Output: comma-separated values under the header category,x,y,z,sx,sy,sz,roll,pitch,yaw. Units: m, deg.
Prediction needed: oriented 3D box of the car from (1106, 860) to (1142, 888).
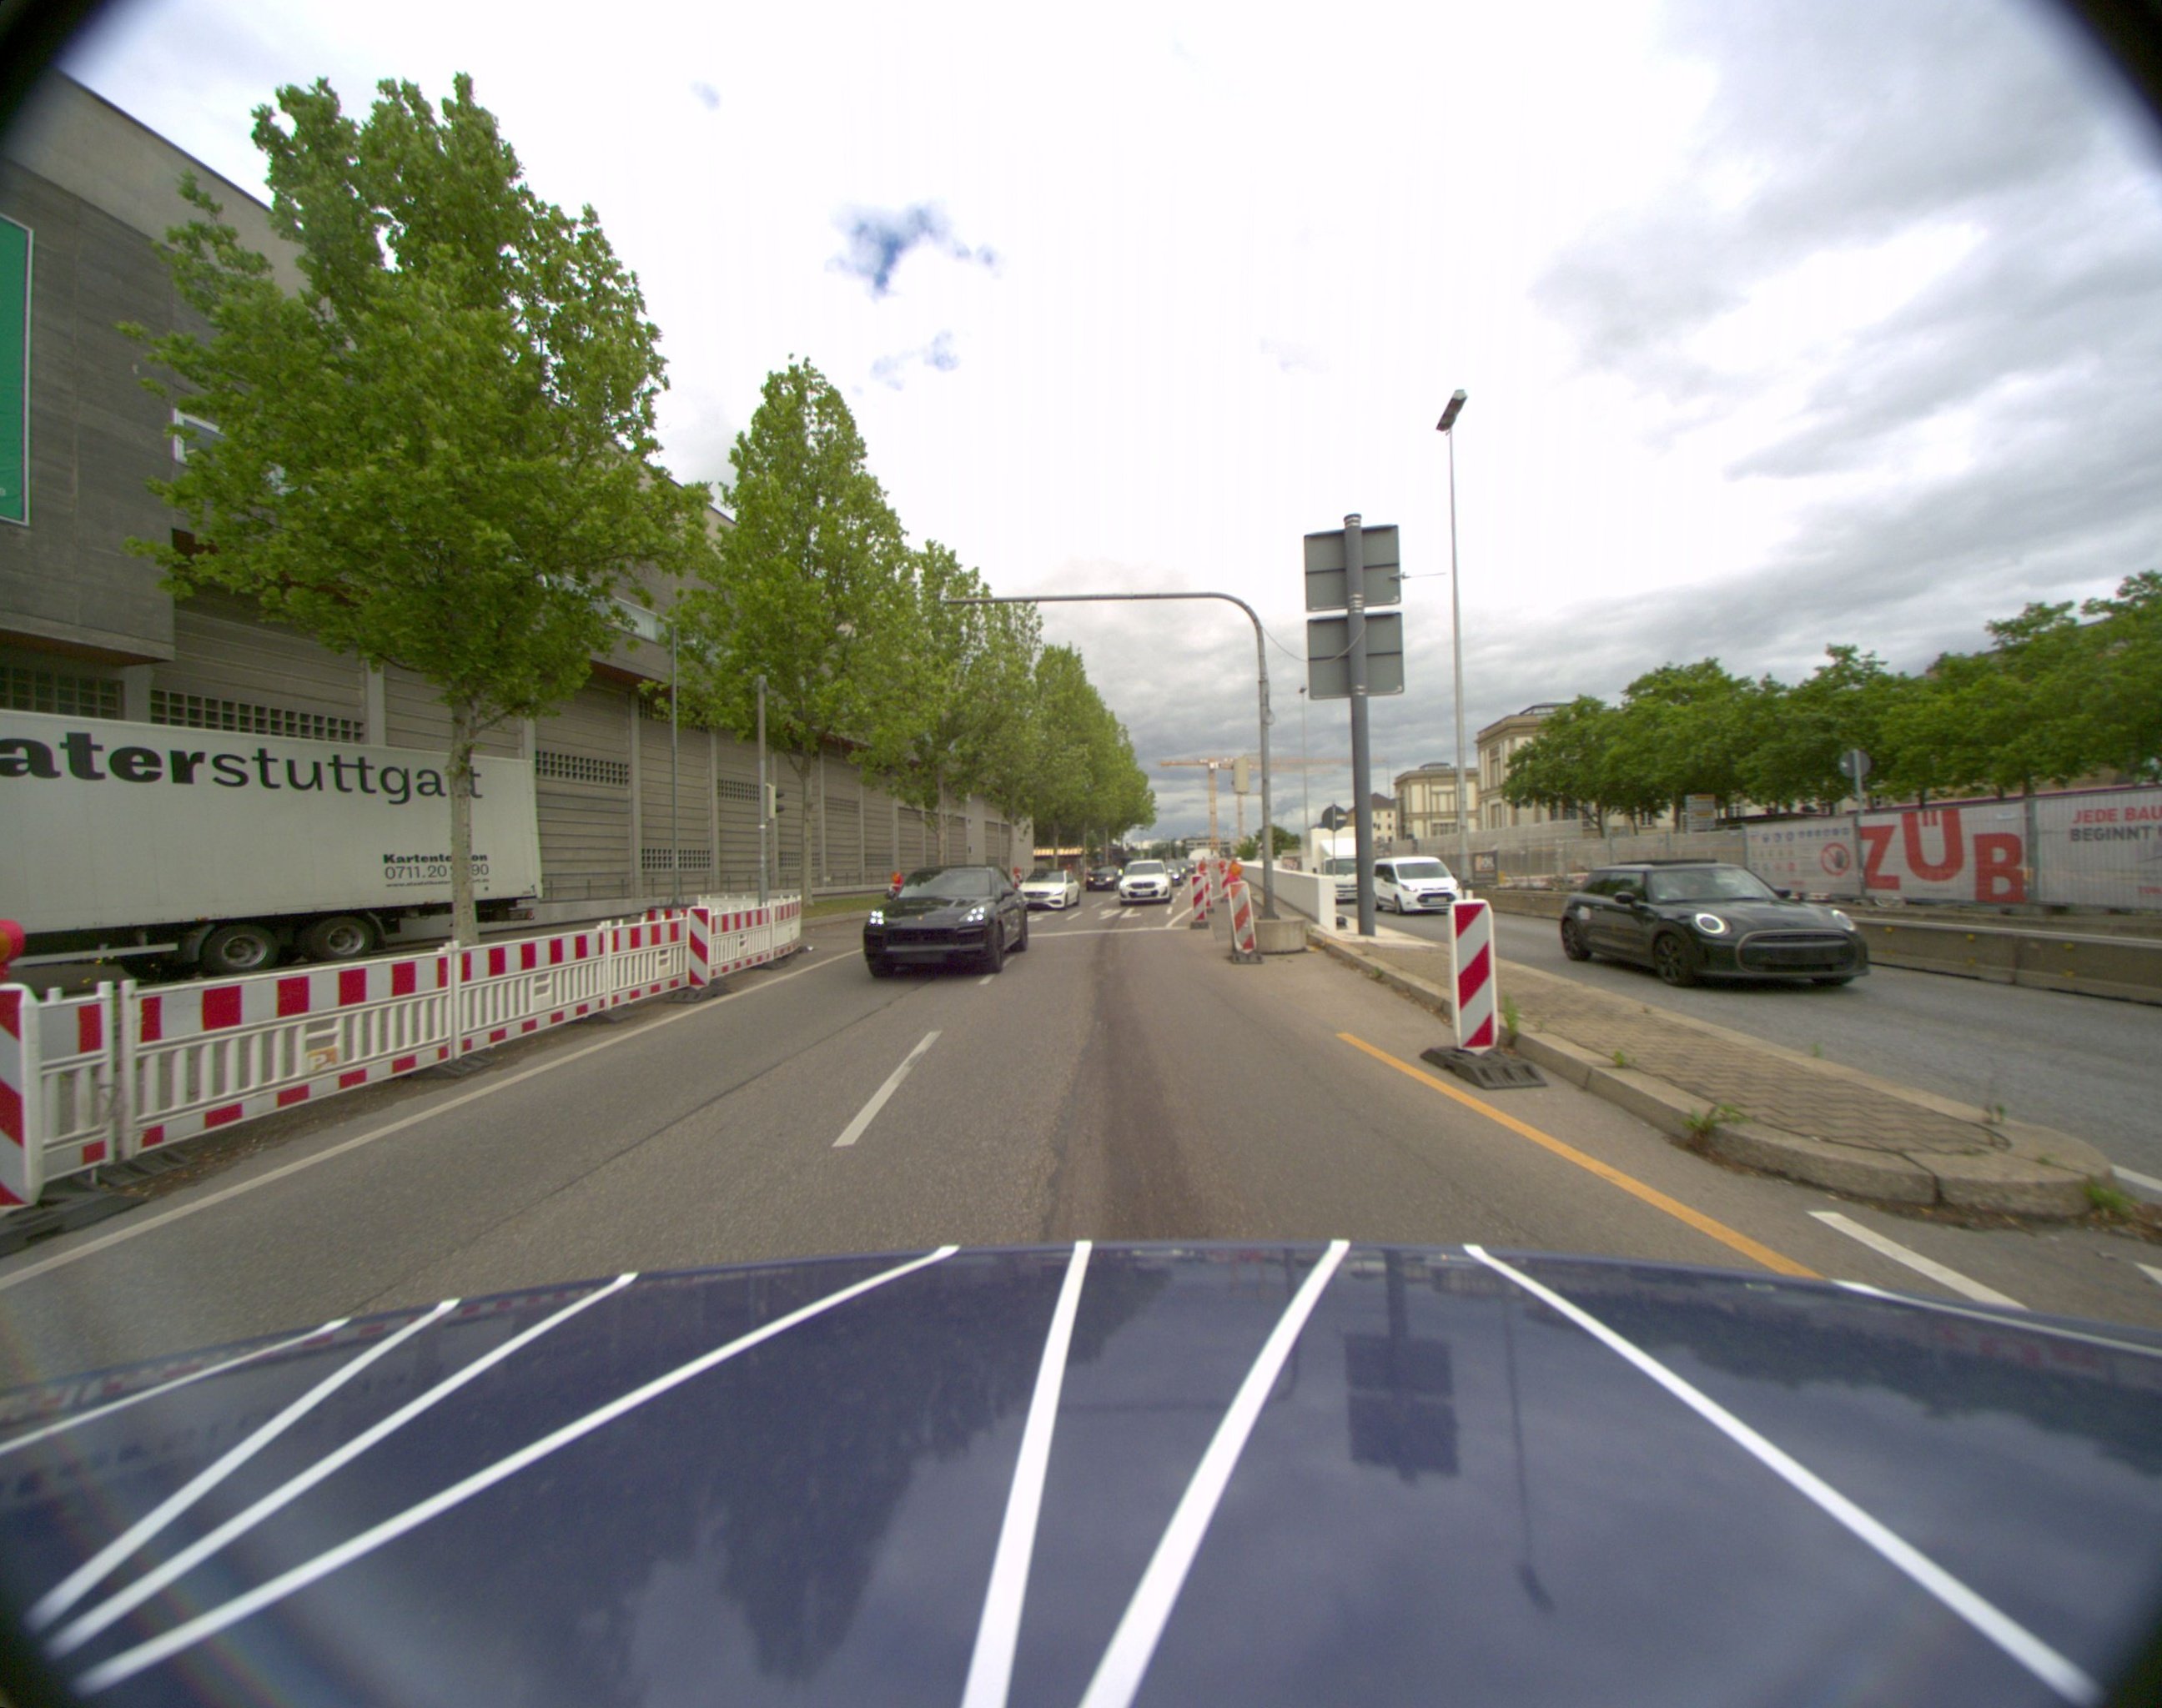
category,x,y,z,sx,sy,sz,roll,pitch,yaw
car,3.278,1.449,57.156,1.951,1.914,4.403,-2,0,12

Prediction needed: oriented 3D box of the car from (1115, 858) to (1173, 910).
category,x,y,z,sx,sy,sz,roll,pitch,yaw
car,2.452,1.050,28.511,1.855,1.618,4.909,-3,0,7

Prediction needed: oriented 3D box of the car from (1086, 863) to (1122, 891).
category,x,y,z,sx,sy,sz,roll,pitch,yaw
car,1.354,1.284,43.434,1.611,1.464,3.625,-2,0,9

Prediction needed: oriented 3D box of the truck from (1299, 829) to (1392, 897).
category,x,y,z,sx,sy,sz,roll,pitch,yaw
truck,12.065,0.402,35.322,2.975,2.757,7.261,-2,0,11

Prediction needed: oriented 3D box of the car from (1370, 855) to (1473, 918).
category,x,y,z,sx,sy,sz,roll,pitch,yaw
car,10.562,0.941,23.907,1.841,1.751,4.483,-2,0,10

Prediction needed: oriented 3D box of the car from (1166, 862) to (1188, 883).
category,x,y,z,sx,sy,sz,roll,pitch,yaw
car,7.697,1.463,60.618,1.611,1.464,3.625,-2,0,9

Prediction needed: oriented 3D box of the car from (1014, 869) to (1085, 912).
category,x,y,z,sx,sy,sz,roll,pitch,yaw
car,-1.064,1.292,27.893,1.933,1.368,4.002,-1,0,7

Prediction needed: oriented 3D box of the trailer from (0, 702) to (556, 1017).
category,x,y,z,sx,sy,sz,roll,pitch,yaw
trailer,-15.397,0.166,10.536,3.152,4.077,13.989,-4,0,18

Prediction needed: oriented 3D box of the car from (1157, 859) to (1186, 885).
category,x,y,z,sx,sy,sz,roll,pitch,yaw
car,5.560,1.062,46.516,1.611,1.464,3.625,-2,0,9

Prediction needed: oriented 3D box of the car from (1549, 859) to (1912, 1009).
category,x,y,z,sx,sy,sz,roll,pitch,yaw
car,7.752,0.835,9.648,1.650,1.430,3.938,-3,0,9

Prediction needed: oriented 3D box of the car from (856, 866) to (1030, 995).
category,x,y,z,sx,sy,sz,roll,pitch,yaw
car,-2.051,1.095,12.615,1.907,1.648,4.201,-3,0,2
